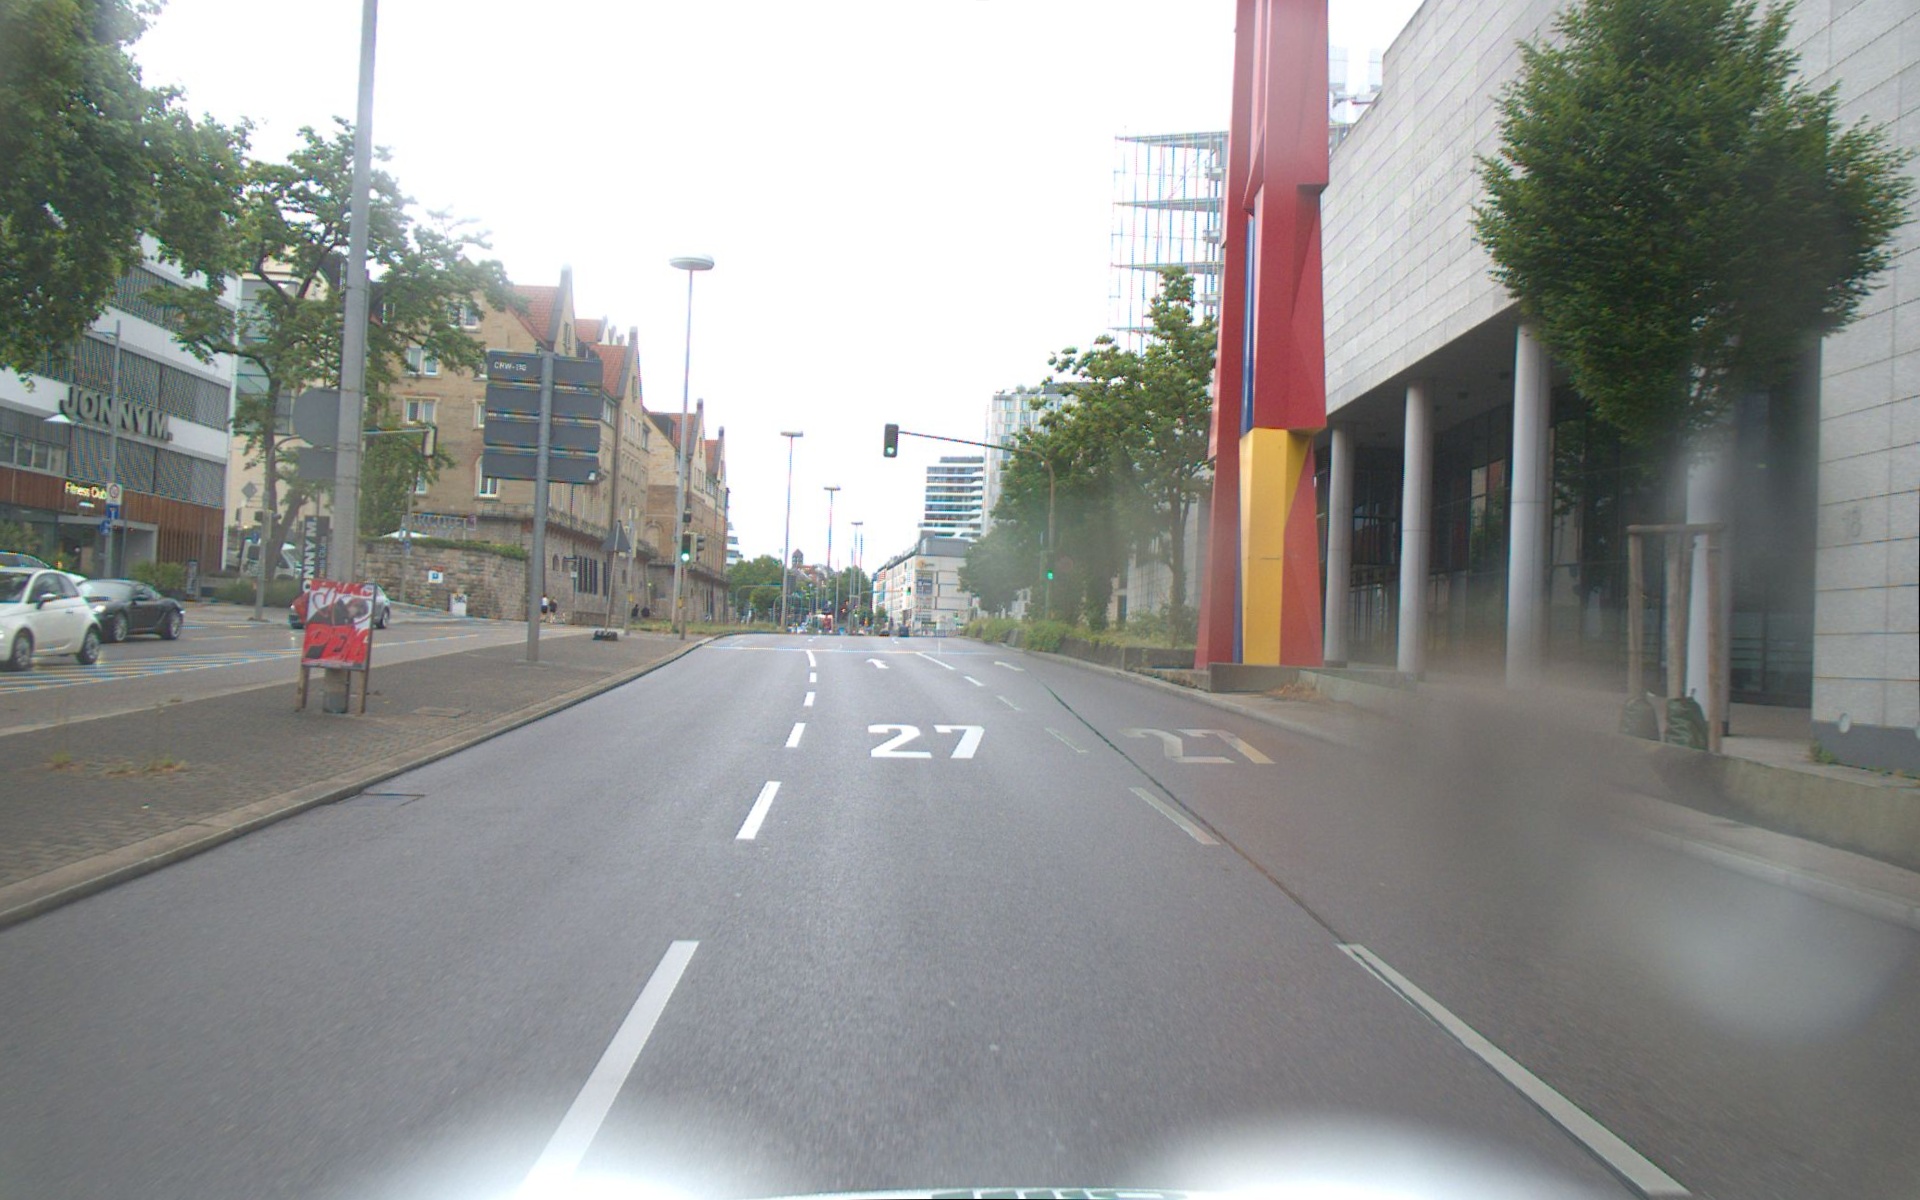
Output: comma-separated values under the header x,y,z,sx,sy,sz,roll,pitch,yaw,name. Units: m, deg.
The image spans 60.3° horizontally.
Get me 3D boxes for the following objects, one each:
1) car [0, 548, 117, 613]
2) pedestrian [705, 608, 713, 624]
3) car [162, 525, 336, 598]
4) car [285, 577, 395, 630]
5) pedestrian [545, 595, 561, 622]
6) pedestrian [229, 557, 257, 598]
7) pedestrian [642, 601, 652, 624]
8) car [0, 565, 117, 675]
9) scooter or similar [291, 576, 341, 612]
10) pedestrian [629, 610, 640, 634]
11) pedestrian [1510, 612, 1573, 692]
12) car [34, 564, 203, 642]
x,y,z,sx,sy,sz,roll,pitch,yaw,name
-28.412,-0.655,49.962,1.961,1.682,4.822,3,-2,37,car
-25.094,1.607,165.303,0.739,1.504,0.714,1,0,-2,pedestrian
-33.049,-1.835,77.035,6.768,2.313,2.515,9,2,-1,car
-18.576,0.092,49.779,1.955,1.472,4.874,1,0,-7,car
-23.447,0.478,95.248,0.739,1.504,0.714,1,0,-2,pedestrian
-29.741,-0.942,68.629,0.753,1.670,0.841,1,0,-2,pedestrian
-24.553,1.000,129.702,0.627,1.776,0.620,1,0,-3,pedestrian
-14.299,0.260,24.879,1.721,1.545,3.734,1,0,-8,car
-25.306,-0.224,65.000,1.732,1.268,0.366,6,-3,-31,scooter or similar
-24.250,1.629,123.226,0.627,1.776,0.620,1,0,-3,pedestrian
11.925,1.056,33.942,0.951,1.614,0.841,1,0,-5,pedestrian
-18.028,0.054,35.653,1.719,1.545,4.167,1,0,-4,car
